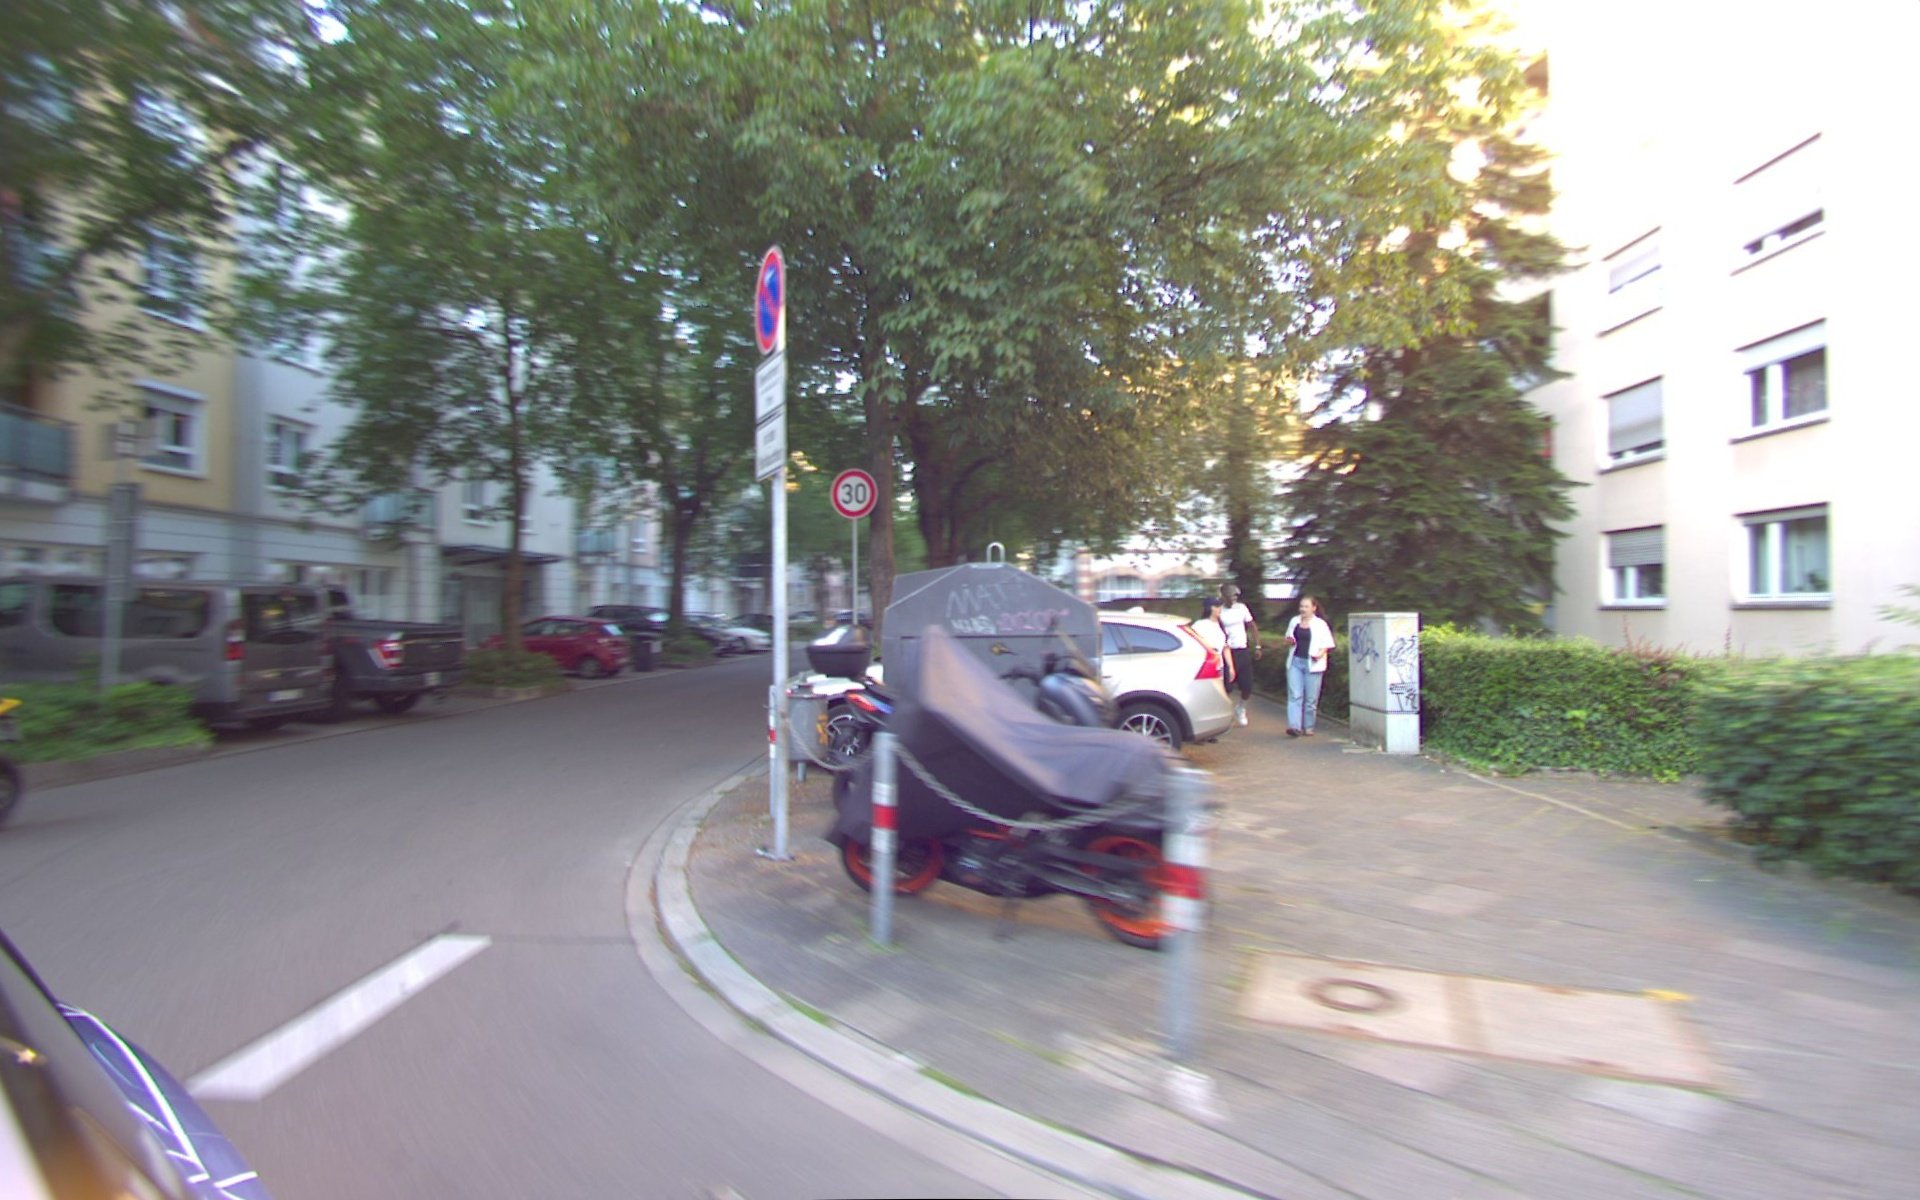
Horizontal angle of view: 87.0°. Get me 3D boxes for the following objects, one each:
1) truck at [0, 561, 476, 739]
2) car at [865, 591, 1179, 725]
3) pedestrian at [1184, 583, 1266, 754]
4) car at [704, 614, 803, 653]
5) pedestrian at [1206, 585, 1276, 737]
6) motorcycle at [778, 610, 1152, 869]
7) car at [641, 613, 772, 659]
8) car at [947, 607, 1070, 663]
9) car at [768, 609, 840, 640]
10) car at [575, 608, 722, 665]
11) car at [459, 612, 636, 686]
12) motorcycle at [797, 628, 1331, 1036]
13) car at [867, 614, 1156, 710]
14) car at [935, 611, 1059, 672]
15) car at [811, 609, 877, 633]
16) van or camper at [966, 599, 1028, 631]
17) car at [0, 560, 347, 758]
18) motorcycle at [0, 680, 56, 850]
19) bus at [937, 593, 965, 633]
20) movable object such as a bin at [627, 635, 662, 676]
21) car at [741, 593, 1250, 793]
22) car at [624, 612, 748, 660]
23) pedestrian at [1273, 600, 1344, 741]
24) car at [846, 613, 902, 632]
[{"bbox_3d":[-10.831,0.697,15.263,5.944,2.149,2.259,3,-1,3],"label":"truck"},{"bbox_3d":[0.860,0.838,15.250,4.349,1.697,2.064,-2,-1,0],"label":"car"},{"bbox_3d":[2.890,0.722,11.045,0.687,1.801,0.530,0,-1,-38],"label":"pedestrian"},{"bbox_3d":[-8.975,1.441,44.262,3.942,1.486,1.914,3,-1,-1],"label":"car"},{"bbox_3d":[3.420,0.734,12.367,0.690,1.801,0.664,-1,-1,7],"label":"pedestrian"},{"bbox_3d":[0.033,0.829,6.318,2.196,1.505,0.690,-1,-1,4],"label":"motorcycle"},{"bbox_3d":[-9.604,1.355,38.556,4.525,1.564,1.772,2,-1,2],"label":"car"},{"bbox_3d":[1.762,1.265,37.317,4.372,1.906,1.999,-1,-1,2],"label":"car"},{"bbox_3d":[-9.033,1.421,58.725,3.823,1.679,1.924,2,-1,2],"label":"car"},{"bbox_3d":[-10.249,1.187,33.589,4.330,1.716,1.898,2,-1,-5],"label":"car"},{"bbox_3d":[-10.174,1.181,25.154,3.625,1.560,1.780,3,1,0],"label":"car"},{"bbox_3d":[0.368,0.822,4.390,2.218,1.384,0.715,-1,-1,33],"label":"motorcycle"},{"bbox_3d":[0.823,1.026,17.474,4.665,1.435,2.071,-1,-1,0],"label":"car"},{"bbox_3d":[1.012,1.138,28.547,3.368,1.621,1.760,-1,-1,0],"label":"car"},{"bbox_3d":[-8.225,1.491,71.795,4.320,1.481,1.727,2,-1,7],"label":"car"},{"bbox_3d":[2.837,1.162,78.125,4.768,2.446,1.944,0,-1,3],"label":"van or camper"},{"bbox_3d":[-10.687,0.646,12.806,4.573,2.149,2.035,3,-1,3],"label":"car"},{"bbox_3d":[-6.909,1.137,6.290,0.726,1.130,2.108,-1,-1,-1],"label":"motorcycle"},{"bbox_3d":[-0.908,1.453,109.746,2.797,4.141,7.826,0,-1,2],"label":"bus"},{"bbox_3d":[-8.576,1.515,27.548,0.766,1.076,0.589,-1,-1,1],"label":"movable object such as a bin"},{"bbox_3d":[0.325,0.843,10.023,4.454,1.593,2.053,-3,0,3],"label":"car"},{"bbox_3d":[-9.797,1.264,36.346,3.949,1.537,1.724,2,-1,4],"label":"car"},{"bbox_3d":[4.019,0.805,11.689,0.653,1.584,0.447,-1,-1,7],"label":"pedestrian"},{"bbox_3d":[-7.267,1.894,85.955,4.539,1.481,1.694,1,-1,4],"label":"car"}]
